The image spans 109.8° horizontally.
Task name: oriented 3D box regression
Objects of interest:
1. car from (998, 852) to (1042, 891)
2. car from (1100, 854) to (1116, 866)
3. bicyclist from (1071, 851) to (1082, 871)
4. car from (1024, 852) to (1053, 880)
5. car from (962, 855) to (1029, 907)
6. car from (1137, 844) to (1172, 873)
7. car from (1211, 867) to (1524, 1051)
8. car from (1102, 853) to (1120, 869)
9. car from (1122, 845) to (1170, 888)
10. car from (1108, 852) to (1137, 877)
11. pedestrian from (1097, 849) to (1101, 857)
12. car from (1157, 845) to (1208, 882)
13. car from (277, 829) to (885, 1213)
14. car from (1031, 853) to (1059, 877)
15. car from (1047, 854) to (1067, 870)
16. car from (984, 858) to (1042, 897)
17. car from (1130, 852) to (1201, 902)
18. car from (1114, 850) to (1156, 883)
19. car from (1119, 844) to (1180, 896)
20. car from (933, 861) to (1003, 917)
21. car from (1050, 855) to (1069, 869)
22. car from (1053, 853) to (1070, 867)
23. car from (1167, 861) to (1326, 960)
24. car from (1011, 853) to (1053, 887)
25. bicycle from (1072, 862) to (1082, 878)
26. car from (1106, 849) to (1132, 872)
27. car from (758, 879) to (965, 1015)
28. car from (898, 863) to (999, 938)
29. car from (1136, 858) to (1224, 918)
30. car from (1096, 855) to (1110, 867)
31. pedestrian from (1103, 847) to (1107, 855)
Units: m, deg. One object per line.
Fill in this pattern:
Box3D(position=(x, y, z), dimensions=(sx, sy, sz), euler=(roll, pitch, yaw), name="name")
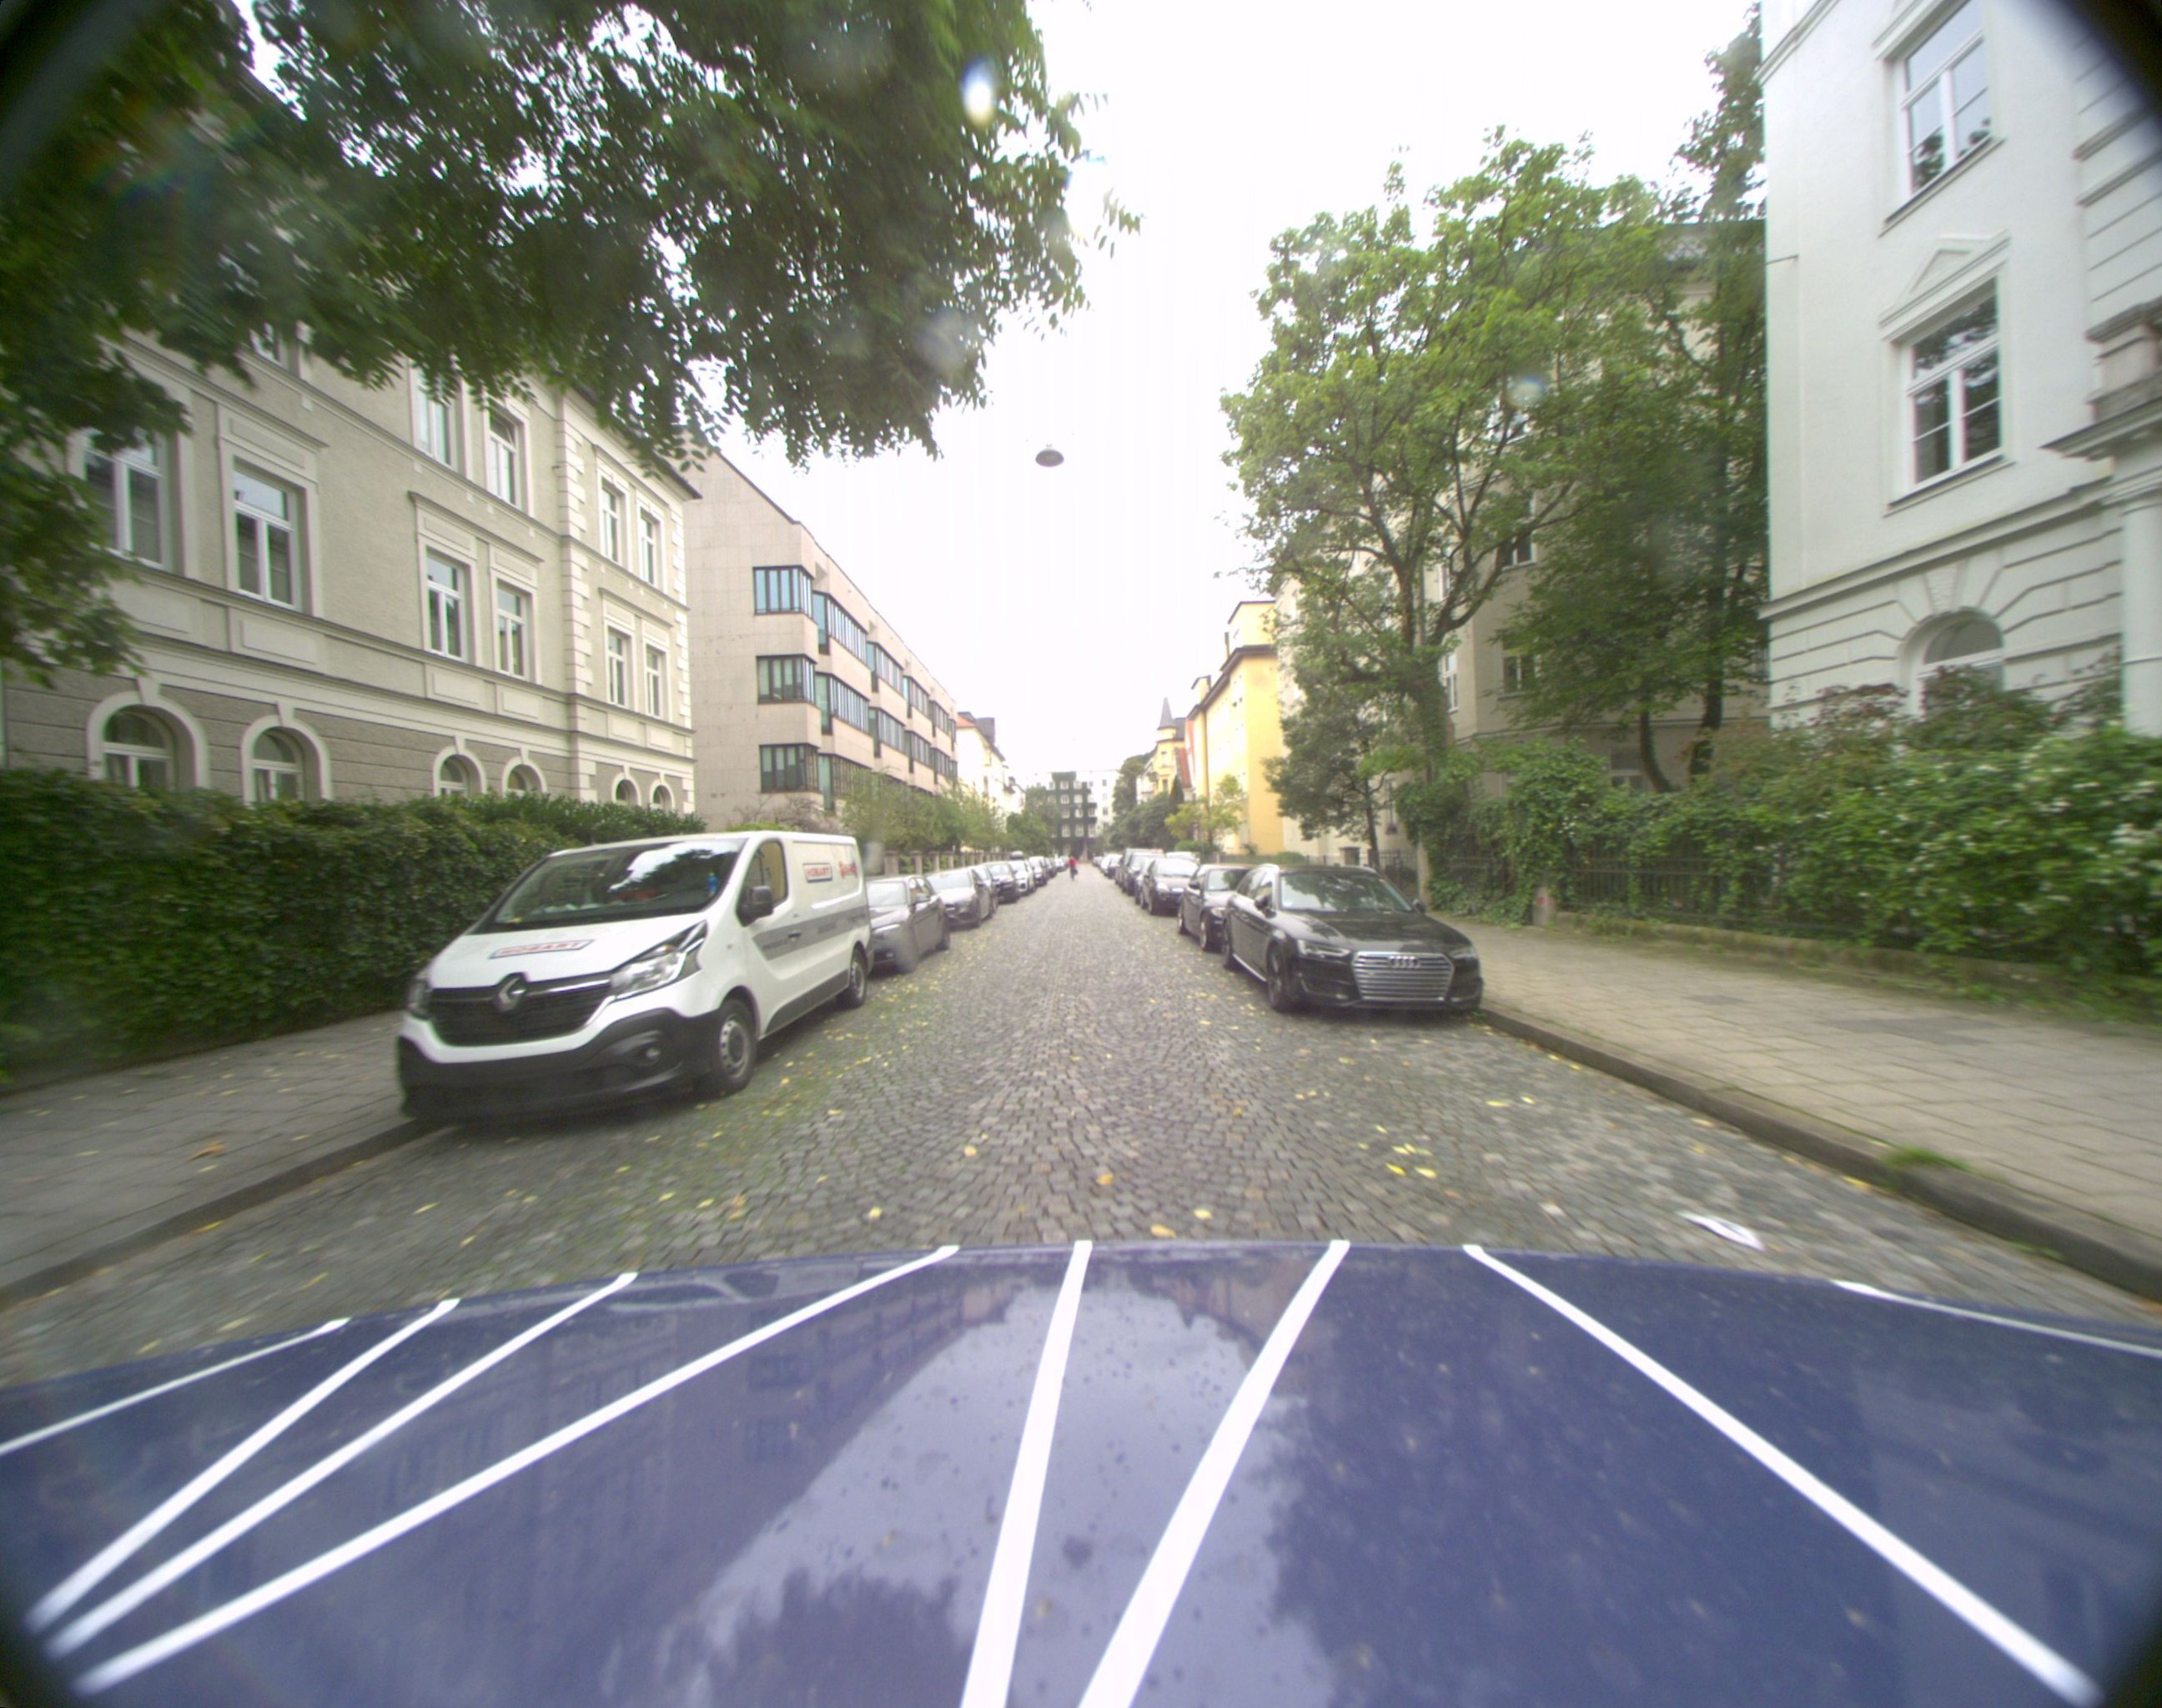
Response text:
Box3D(position=(-3.073, 0.871, 39.406), dimensions=(1.878, 1.725, 4.746), euler=(-6, 0, -2), name="car")
Box3D(position=(3.207, 0.710, 91.567), dimensions=(1.819, 1.447, 4.913), euler=(0, 0, 1), name="car")
Box3D(position=(-0.316, 0.483, 51.624), dimensions=(0.648, 1.350, 0.656), euler=(-3, 1, 0), name="bicyclist")
Box3D(position=(-3.083, 0.828, 56.251), dimensions=(1.793, 1.786, 4.509), euler=(-6, 0, -1), name="car")
Box3D(position=(-3.206, 0.965, 29.295), dimensions=(1.878, 1.660, 4.657), euler=(-5, 0, 1), name="car")
Box3D(position=(5.476, 0.318, 57.177), dimensions=(1.999, 1.920, 5.330), euler=(-4, 0, -1), name="car")
Box3D(position=(2.745, 0.904, 8.493), dimensions=(1.891, 1.409, 4.407), euler=(1, 0, 1), name="car")
Box3D(position=(2.967, 0.651, 75.839), dimensions=(1.718, 1.553, 4.390), euler=(0, 0, 0), name="car")
Box3D(position=(3.043, 0.568, 36.401), dimensions=(1.878, 1.906, 4.827), euler=(0, 0, 0), name="car")
Box3D(position=(2.981, 0.735, 55.904), dimensions=(1.922, 1.725, 4.755), euler=(2, 0, 1), name="car")
Box3D(position=(4.123, -0.278, 175.613), dimensions=(0.701, 1.905, 0.863), euler=(-4, 1, 3), name="pedestrian")
Box3D(position=(5.322, 0.486, 40.588), dimensions=(1.950, 1.725, 4.657), euler=(-5, 0, 0), name="car")
Box3D(position=(-3.347, 0.894, 6.681), dimensions=(1.878, 1.917, 5.163), euler=(-5, 0, -2), name="car")
Box3D(position=(-2.891, 0.841, 61.691), dimensions=(1.865, 1.692, 4.813), euler=(-5, 0, 0), name="car")
Box3D(position=(-2.684, 0.910, 86.052), dimensions=(1.998, 1.543, 5.014), euler=(-4, 0, 0), name="car")
Box3D(position=(-2.985, 1.004, 34.272), dimensions=(1.877, 1.481, 4.617), euler=(-4, 0, 2), name="car")
Box3D(position=(2.773, 0.708, 25.974), dimensions=(1.983, 1.552, 5.017), euler=(0, 0, 1), name="car")
Box3D(position=(2.995, 0.662, 42.787), dimensions=(1.870, 1.725, 4.402), euler=(0, 0, -2), name="car")
Box3D(position=(2.704, 0.593, 31.185), dimensions=(1.998, 1.906, 5.177), euler=(1, 0, 0), name="car")
Box3D(position=(-3.424, 1.018, 23.686), dimensions=(1.699, 1.432, 4.060), euler=(-5, 0, -4), name="car")
Box3D(position=(-2.552, 0.953, 91.311), dimensions=(1.998, 1.543, 4.986), euler=(-4, 0, 1), name="car")
Box3D(position=(-2.475, 0.755, 96.504), dimensions=(1.898, 1.644, 4.293), euler=(-4, 0, 0), name="car")
Box3D(position=(2.736, 0.872, 13.625), dimensions=(1.788, 1.409, 4.496), euler=(1, 0, -1), name="car")
Box3D(position=(-2.840, 0.875, 44.703), dimensions=(1.877, 1.725, 4.892), euler=(-4, 0, 2), name="car")
Box3D(position=(-0.266, 1.079, 51.627), dimensions=(0.636, 1.021, 1.955), euler=(-3, 1, 0), name="bicycle")
Box3D(position=(3.062, 0.528, 62.466), dimensions=(2.011, 1.798, 5.174), euler=(0, 0, 1), name="car")
Box3D(position=(-3.234, 1.309, 12.253), dimensions=(1.841, 1.481, 4.421), euler=(-5, 0, 1), name="car")
Box3D(position=(-3.193, 1.062, 19.105), dimensions=(1.718, 1.464, 4.268), euler=(-5, 0, -1), name="car")
Box3D(position=(2.585, 0.843, 20.789), dimensions=(1.667, 1.435, 4.170), euler=(-1, 0, -3), name="car")
Box3D(position=(3.187, 0.956, 109.373), dimensions=(1.744, 1.577, 4.191), euler=(-1, 0, -3), name="car")
Box3D(position=(5.506, -0.641, 175.702), dimensions=(0.666, 1.905, 0.863), euler=(-4, 1, 9), name="pedestrian")
